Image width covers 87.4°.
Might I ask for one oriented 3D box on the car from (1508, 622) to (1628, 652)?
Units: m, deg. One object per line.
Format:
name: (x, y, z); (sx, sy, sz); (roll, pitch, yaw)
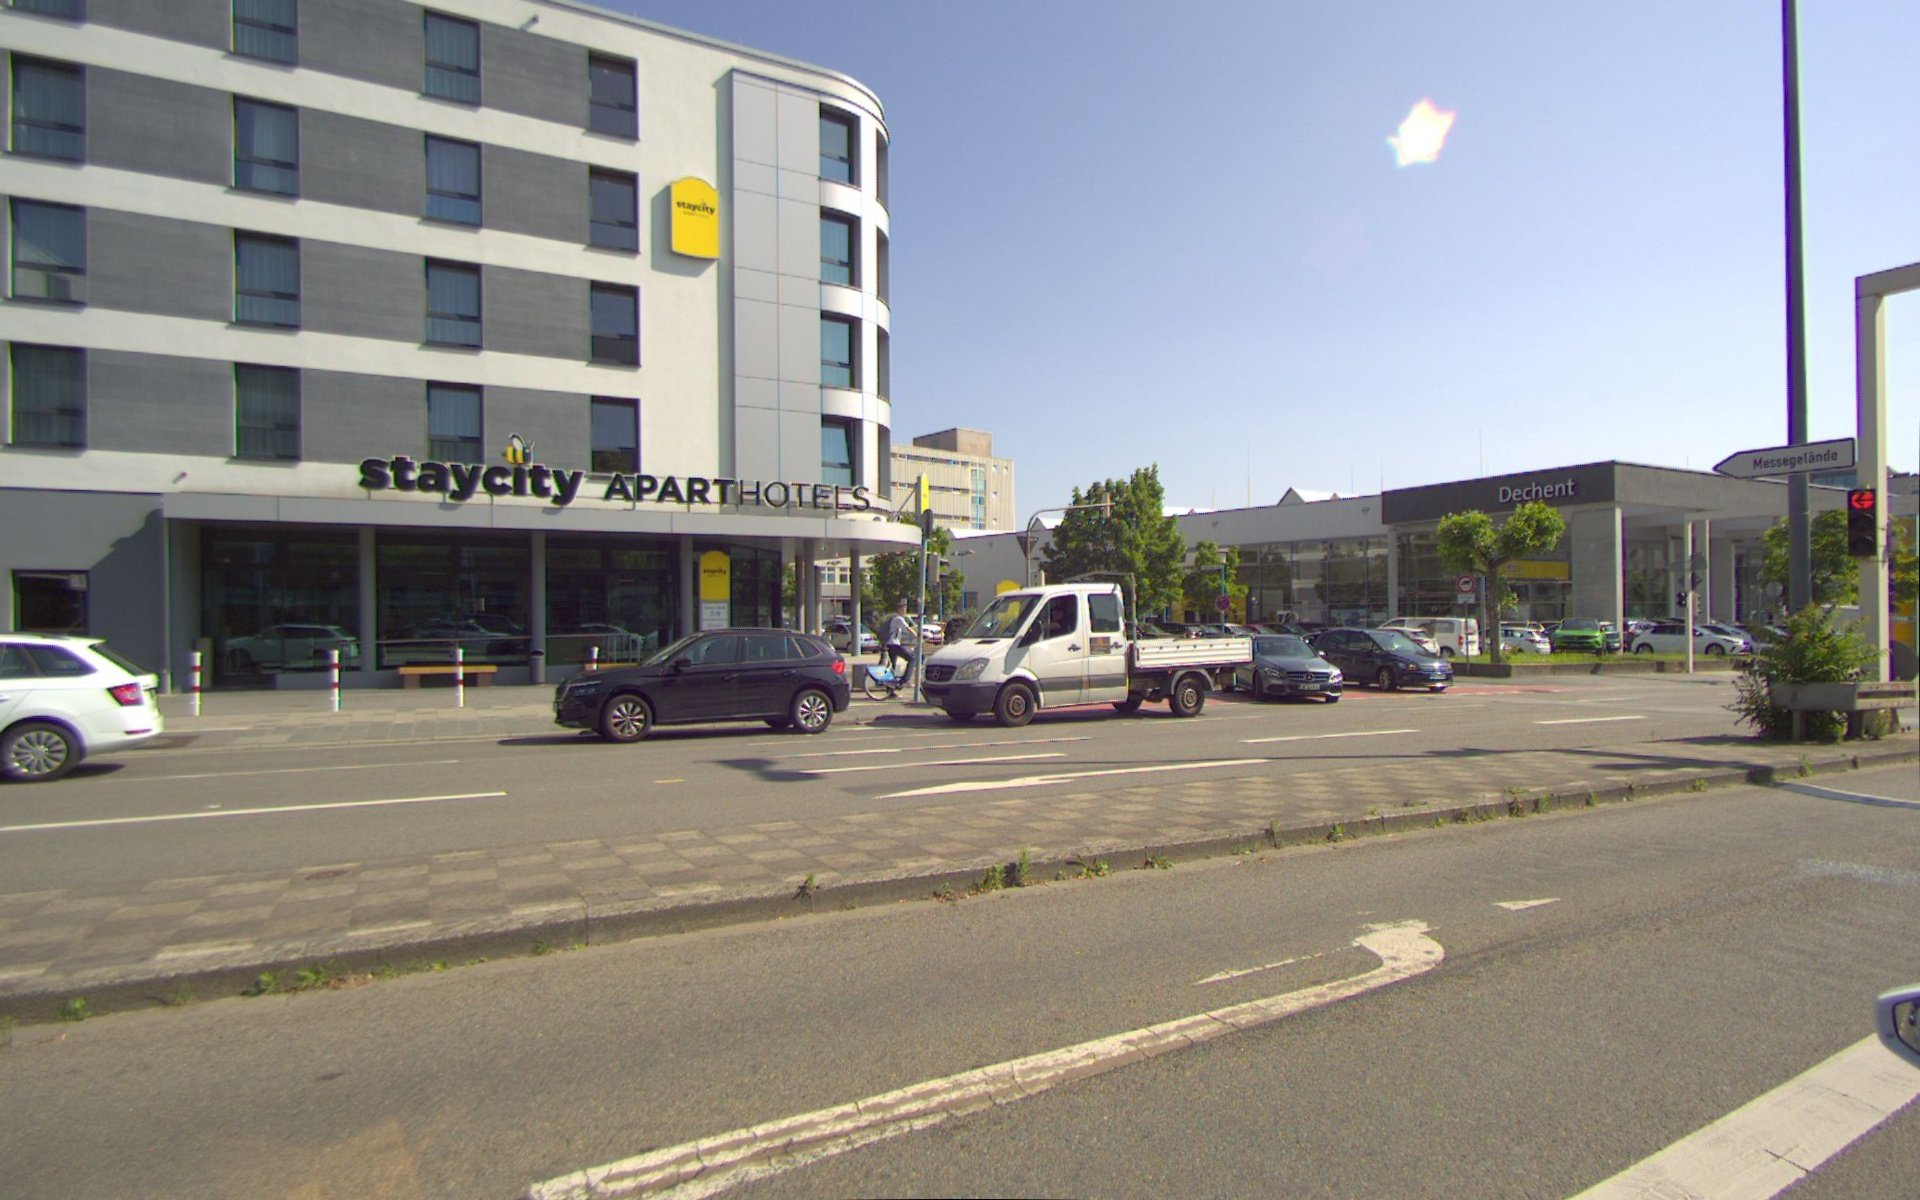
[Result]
car: (27.973, 1.733, 46.316); (1.982, 1.284, 4.325); (4, -4, -37)

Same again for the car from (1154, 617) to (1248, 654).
car: (11.833, 1.722, 49.639); (1.980, 1.719, 4.328); (1, -2, -35)

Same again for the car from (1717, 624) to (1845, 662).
car: (38.907, 2.015, 47.722); (1.978, 1.719, 4.333); (1, -1, -32)

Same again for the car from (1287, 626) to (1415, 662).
car: (15.182, 1.670, 39.177); (1.980, 1.317, 4.328); (1, -2, -35)

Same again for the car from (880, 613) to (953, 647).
car: (-2.627, 1.775, 59.363); (1.971, 1.815, 4.376); (2, 0, -42)

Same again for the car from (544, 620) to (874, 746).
car: (-3.646, 1.153, 14.757); (4.360, 1.598, 1.985); (1, -3, -30)

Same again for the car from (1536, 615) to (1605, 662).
car: (24.097, 1.521, 39.768); (1.870, 1.756, 3.293); (0, -3, 23)

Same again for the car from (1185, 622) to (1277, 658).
car: (13.864, 2.026, 51.552); (1.980, 1.719, 4.328); (1, -2, -35)

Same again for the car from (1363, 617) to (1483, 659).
car: (19.923, 1.613, 43.386); (1.982, 1.719, 4.323); (1, -2, -38)

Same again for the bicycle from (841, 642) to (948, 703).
bicycle: (-1.307, 1.441, 20.363); (2.144, 1.131, 0.761); (1, -2, -40)

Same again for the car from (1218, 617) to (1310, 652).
car: (15.921, 1.782, 52.747); (1.982, 1.719, 4.324); (1, -2, -37)

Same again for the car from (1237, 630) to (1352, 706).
car: (7.535, 1.475, 23.001); (1.866, 1.378, 4.002); (3, 1, 10)

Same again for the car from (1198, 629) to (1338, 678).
car: (10.111, 1.705, 33.127); (3.943, 1.349, 1.989); (2, 0, 43)

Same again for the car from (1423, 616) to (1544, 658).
car: (22.833, 1.580, 43.930); (1.982, 1.719, 4.323); (1, -2, -38)

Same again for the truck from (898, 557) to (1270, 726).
truck: (2.271, 0.747, 17.822); (6.355, 2.578, 2.349); (1, -3, -28)

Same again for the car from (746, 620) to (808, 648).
car: (-10.539, 1.912, 57.545); (1.979, 1.466, 4.331); (1, -1, -33)

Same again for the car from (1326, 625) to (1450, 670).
car: (17.559, 1.903, 41.387); (1.980, 1.719, 4.328); (1, -2, -35)

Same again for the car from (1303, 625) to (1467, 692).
car: (11.251, 1.494, 26.907); (1.861, 1.639, 4.120); (1, -1, -17)

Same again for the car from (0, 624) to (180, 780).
car: (-10.603, 1.016, 9.979); (4.370, 1.505, 1.980); (2, -4, -36)

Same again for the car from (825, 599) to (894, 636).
car: (-6.375, 1.116, 63.486); (1.985, 2.158, 4.565); (2, 0, -42)

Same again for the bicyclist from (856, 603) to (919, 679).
bicyclist: (-1.451, 0.823, 20.248); (1.019, 1.479, 0.761); (1, -1, -40)

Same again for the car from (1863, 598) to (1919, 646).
car: (53.346, 1.204, 55.794); (1.973, 2.635, 4.345); (1, -1, -24)

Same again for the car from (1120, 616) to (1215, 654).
car: (9.940, 1.649, 48.447); (1.980, 1.719, 4.328); (1, -2, -35)

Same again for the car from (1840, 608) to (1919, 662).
car: (49.196, 1.799, 52.435); (2.096, 2.720, 4.490); (1, -1, -21)

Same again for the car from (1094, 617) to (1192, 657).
car: (8.372, 1.674, 46.191); (1.980, 1.719, 4.328); (1, -2, -35)

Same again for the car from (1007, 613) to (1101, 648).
car: (4.673, 1.505, 50.303); (4.304, 1.719, 1.991); (-1, -2, 39)

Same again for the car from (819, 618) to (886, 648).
car: (-5.456, 1.653, 50.767); (1.760, 1.457, 3.878); (1, -1, -35)

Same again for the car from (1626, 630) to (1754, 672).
car: (30.650, 2.106, 42.271); (1.981, 1.620, 3.959); (1, -1, -36)

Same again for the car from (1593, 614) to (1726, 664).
car: (27.455, 1.483, 39.543); (1.978, 1.862, 3.849); (1, -1, -32)

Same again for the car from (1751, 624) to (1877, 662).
car: (41.708, 2.060, 49.151); (1.978, 1.719, 4.333); (1, -1, -32)

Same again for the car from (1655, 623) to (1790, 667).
car: (32.925, 1.922, 43.504); (1.978, 1.789, 4.274); (1, -1, -32)

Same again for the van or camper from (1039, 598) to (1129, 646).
van or camper: (6.513, 1.153, 53.058); (1.983, 2.432, 4.678); (1, -1, -38)

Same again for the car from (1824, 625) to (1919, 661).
car: (47.126, 2.159, 51.169); (1.971, 1.719, 4.348); (1, -1, -22)

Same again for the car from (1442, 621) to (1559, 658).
car: (24.658, 1.773, 45.930); (1.982, 1.612, 4.325); (1, -2, -37)
